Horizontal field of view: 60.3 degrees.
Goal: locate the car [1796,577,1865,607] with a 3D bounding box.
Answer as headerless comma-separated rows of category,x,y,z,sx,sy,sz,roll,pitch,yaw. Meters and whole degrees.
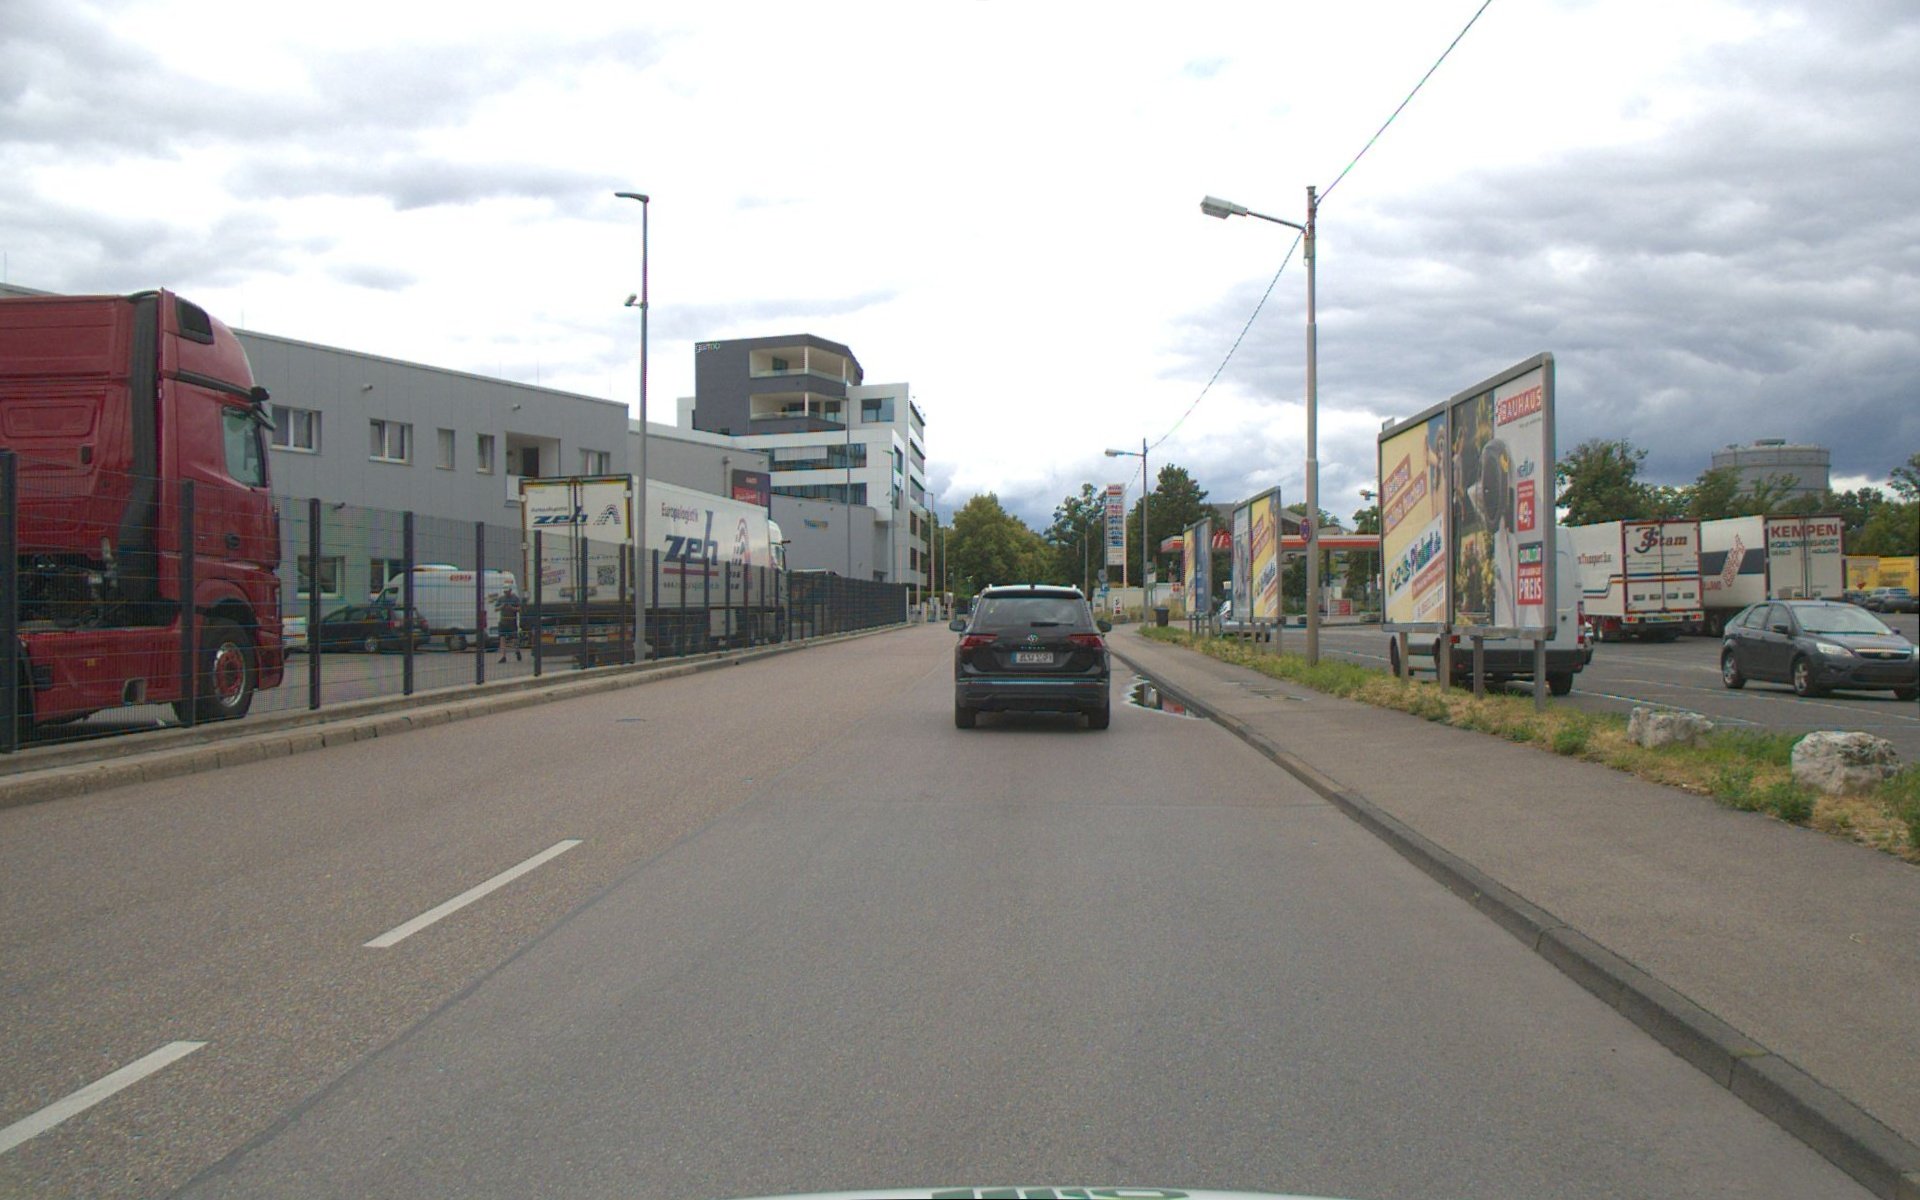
car,48.744,-0.462,92.678,1.952,1.646,4.002,0,0,3

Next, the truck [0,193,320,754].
truck,-8.317,-0.912,13.821,2.860,4.091,6.945,0,0,4

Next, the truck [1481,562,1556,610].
truck,38.665,-1.028,114.808,3.108,3.200,7.513,0,1,4

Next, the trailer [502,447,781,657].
trailer,-7.703,-1.016,42.982,3.067,4.335,14.028,-4,-1,5

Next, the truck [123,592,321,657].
truck,-19.989,0.646,44.830,4.813,1.681,2.227,-1,0,23

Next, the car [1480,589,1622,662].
car,14.013,0.574,39.466,1.850,1.640,4.429,0,0,1

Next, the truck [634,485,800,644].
truck,-7.088,-0.966,49.437,3.062,4.188,6.946,-4,-1,6

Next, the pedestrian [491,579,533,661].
pedestrian,-10.373,0.459,38.328,0.683,1.861,0.825,0,0,7

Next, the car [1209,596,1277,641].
car,9.926,0.647,58.304,1.850,1.470,4.430,2,0,3

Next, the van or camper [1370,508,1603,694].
van or camper,8.418,0.022,27.142,2.208,2.694,6.117,0,0,4

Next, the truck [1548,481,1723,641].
truck,23.484,-1.274,58.057,3.238,5.182,8.518,0,0,5

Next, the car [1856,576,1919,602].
car,58.593,-0.693,104.465,1.952,1.646,4.002,0,0,3

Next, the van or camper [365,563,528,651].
van or camper,-16.822,0.240,54.208,4.869,2.811,2.104,-1,0,21

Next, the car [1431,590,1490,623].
car,26.771,0.354,88.553,1.952,1.736,4.000,0,0,1

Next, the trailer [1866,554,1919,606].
trailer,74.386,-1.480,124.502,3.522,3.931,18.037,0,1,3

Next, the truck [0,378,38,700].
truck,-14.846,-0.766,20.291,5.498,4.091,2.923,0,0,-12

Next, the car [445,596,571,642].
car,-15.976,0.652,58.445,3.905,1.579,2.000,-1,0,22

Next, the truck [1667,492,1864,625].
truck,27.458,-1.336,56.917,3.237,4.218,8.519,0,0,5

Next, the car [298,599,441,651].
car,-18.566,0.789,51.989,3.905,1.579,2.000,-1,0,22

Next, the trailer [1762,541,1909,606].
trailer,61.176,-1.867,116.218,2.810,4.223,14.929,0,1,2

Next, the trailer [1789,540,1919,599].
trailer,65.693,-2.181,119.559,3.522,3.931,18.037,0,1,3

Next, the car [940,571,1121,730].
car,0.867,0.559,20.116,1.952,1.713,4.372,0,0,3

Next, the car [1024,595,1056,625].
car,5.061,0.633,104.941,1.952,1.780,4.001,0,1,2

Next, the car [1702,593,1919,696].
car,13.767,0.659,26.447,1.850,1.470,4.429,2,0,1

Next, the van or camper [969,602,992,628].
van or camper,1.886,1.378,149.287,1.952,2.296,4.001,0,0,3
